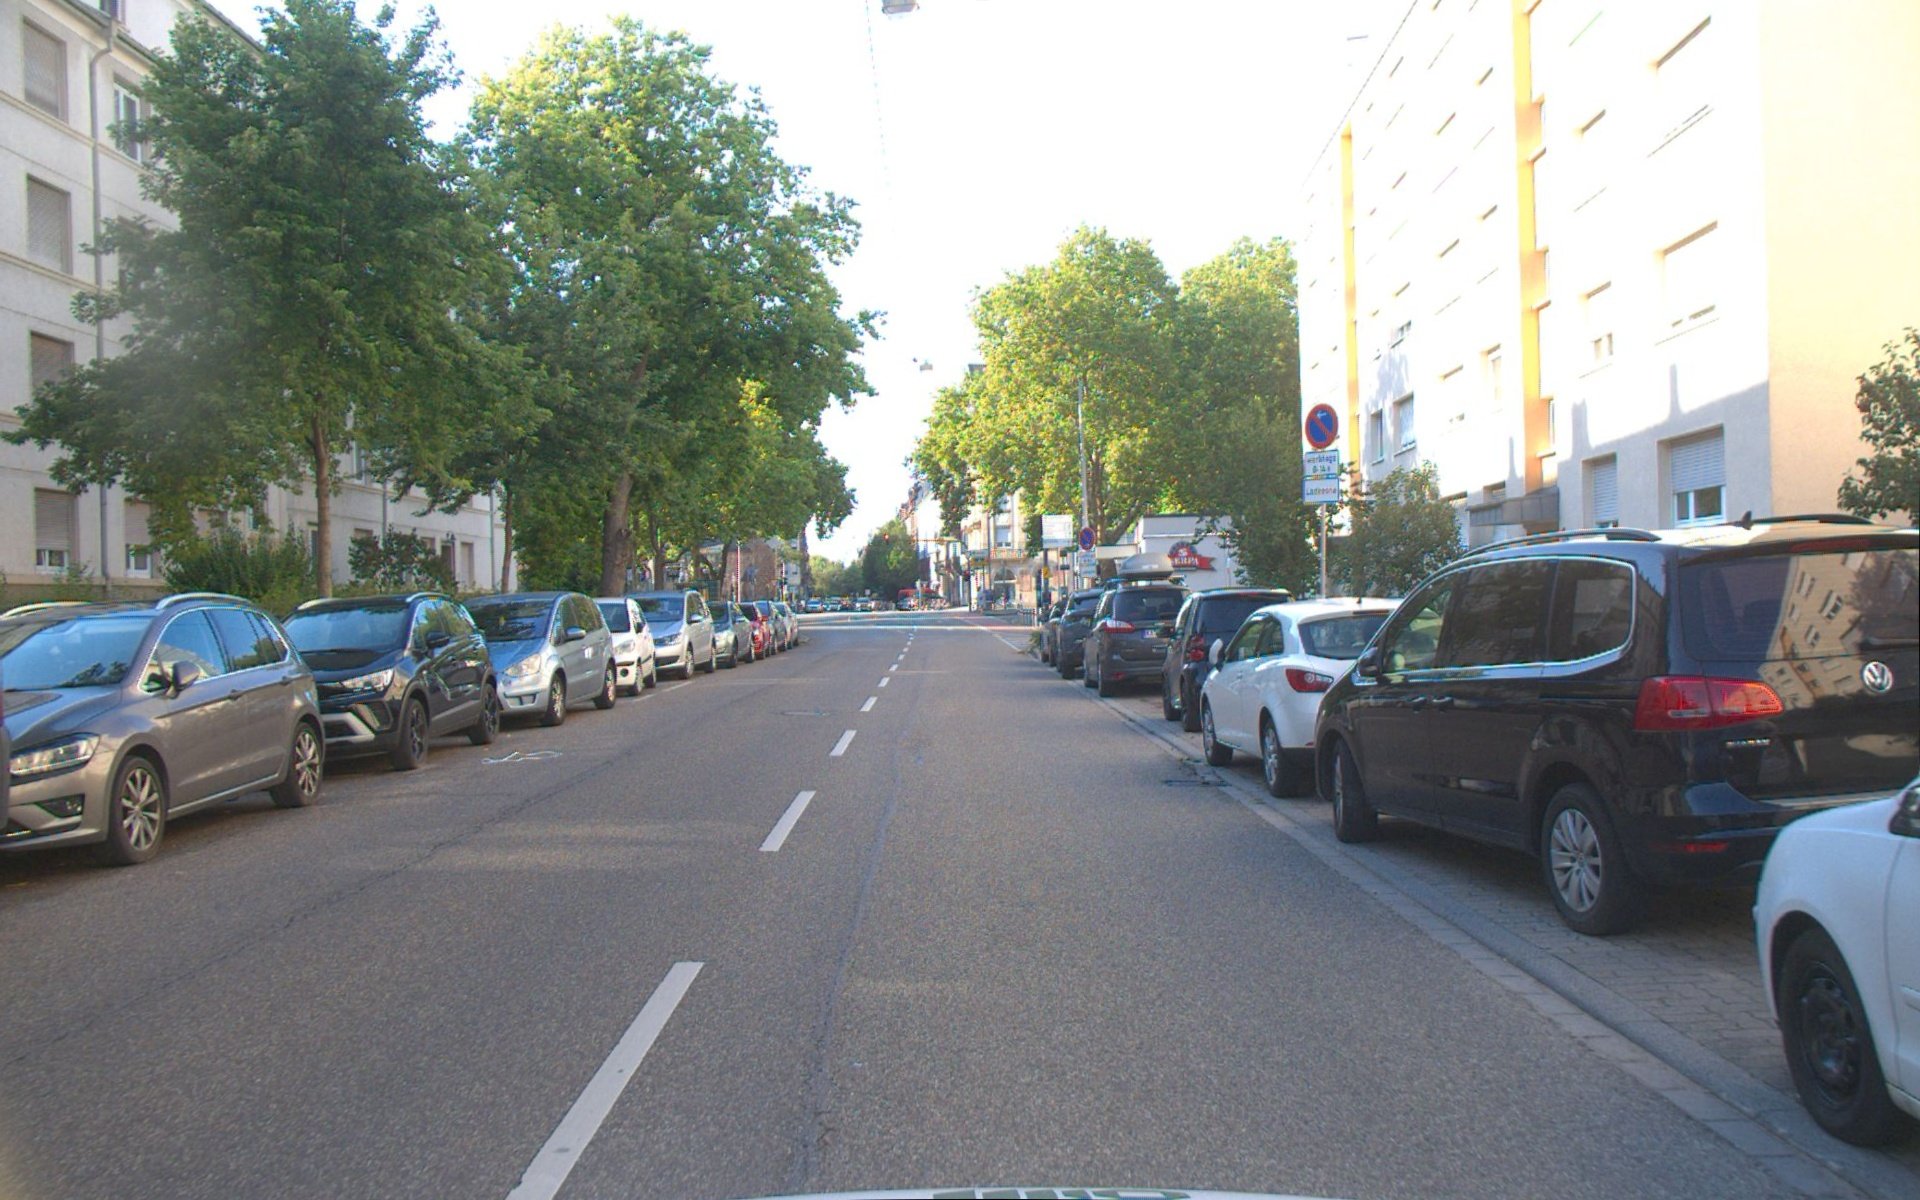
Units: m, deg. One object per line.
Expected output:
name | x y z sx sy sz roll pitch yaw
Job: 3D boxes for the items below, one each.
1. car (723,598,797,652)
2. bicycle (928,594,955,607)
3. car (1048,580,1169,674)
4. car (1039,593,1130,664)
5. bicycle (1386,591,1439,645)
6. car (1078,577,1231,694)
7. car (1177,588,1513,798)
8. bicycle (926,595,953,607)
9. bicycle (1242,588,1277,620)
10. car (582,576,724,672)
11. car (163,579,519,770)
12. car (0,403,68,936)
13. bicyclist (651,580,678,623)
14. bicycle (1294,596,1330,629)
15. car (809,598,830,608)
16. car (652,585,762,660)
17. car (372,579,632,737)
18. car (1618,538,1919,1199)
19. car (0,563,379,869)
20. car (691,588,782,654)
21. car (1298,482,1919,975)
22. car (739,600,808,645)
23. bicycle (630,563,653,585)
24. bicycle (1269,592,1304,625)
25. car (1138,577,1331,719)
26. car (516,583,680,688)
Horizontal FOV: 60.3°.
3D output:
car | -5.734 0.723 47.765 1.669 1.465 4.128 1 -1 -1
bicycle | -1.889 0.058 171.823 2.752 1.225 0.515 1 -1 -11
car | 2.814 0.521 32.263 1.888 1.688 4.676 1 -1 -1
car | 2.767 0.644 37.433 1.705 1.499 3.999 1 -1 -1
bicycle | 8.997 0.365 32.942 0.599 1.039 1.833 1 -1 2
car | 3.018 0.512 26.541 1.859 1.680 4.342 -1 0 -1
car | 2.971 0.677 13.785 1.645 1.440 4.723 1 -1 -1
bicycle | -2.119 0.089 170.223 2.750 1.225 0.509 1 -1 -8
bicycle | 9.344 0.117 51.662 0.623 0.941 2.230 1 2 -1
car | -5.902 0.468 32.368 1.877 1.707 4.973 1 -1 -1
car | -5.766 0.657 16.040 1.832 1.586 4.364 0 -1 -1
car | -5.622 0.319 5.159 2.310 2.488 6.163 -2 -1 0
bicyclist | -14.014 0.075 78.443 0.957 2.049 0.795 0 -1 34
bicycle | 10.978 0.390 51.662 0.623 0.941 2.230 1 2 -1
car | -17.399 0.417 204.607 1.560 1.164 3.386 0 -1 14
car | -5.663 0.510 37.541 1.832 1.586 4.496 1 -1 -1
car | -5.609 0.626 20.978 1.833 1.585 5.056 -6 1 -1
car | 3.082 0.583 3.374 1.799 1.528 4.172 -2 -1 0
car | -5.609 0.707 10.963 1.918 1.585 4.345 -5 -1 -1
car | -5.707 0.542 42.592 1.833 1.586 3.999 1 -1 -1
car | 3.291 0.479 8.559 1.983 1.780 4.765 -2 0 -1
car | -5.944 0.730 53.139 1.733 1.376 4.709 1 -1 -1
bicycle | -17.934 -1.449 93.122 0.703 1.165 3.291 1 -1 -1
bicycle | 10.184 0.248 51.688 0.623 0.941 2.230 1 2 -1
car | 3.199 0.548 20.011 1.573 1.520 4.041 -1 -1 -1
car | -5.875 0.575 27.342 1.833 1.586 4.100 1 -1 -1
